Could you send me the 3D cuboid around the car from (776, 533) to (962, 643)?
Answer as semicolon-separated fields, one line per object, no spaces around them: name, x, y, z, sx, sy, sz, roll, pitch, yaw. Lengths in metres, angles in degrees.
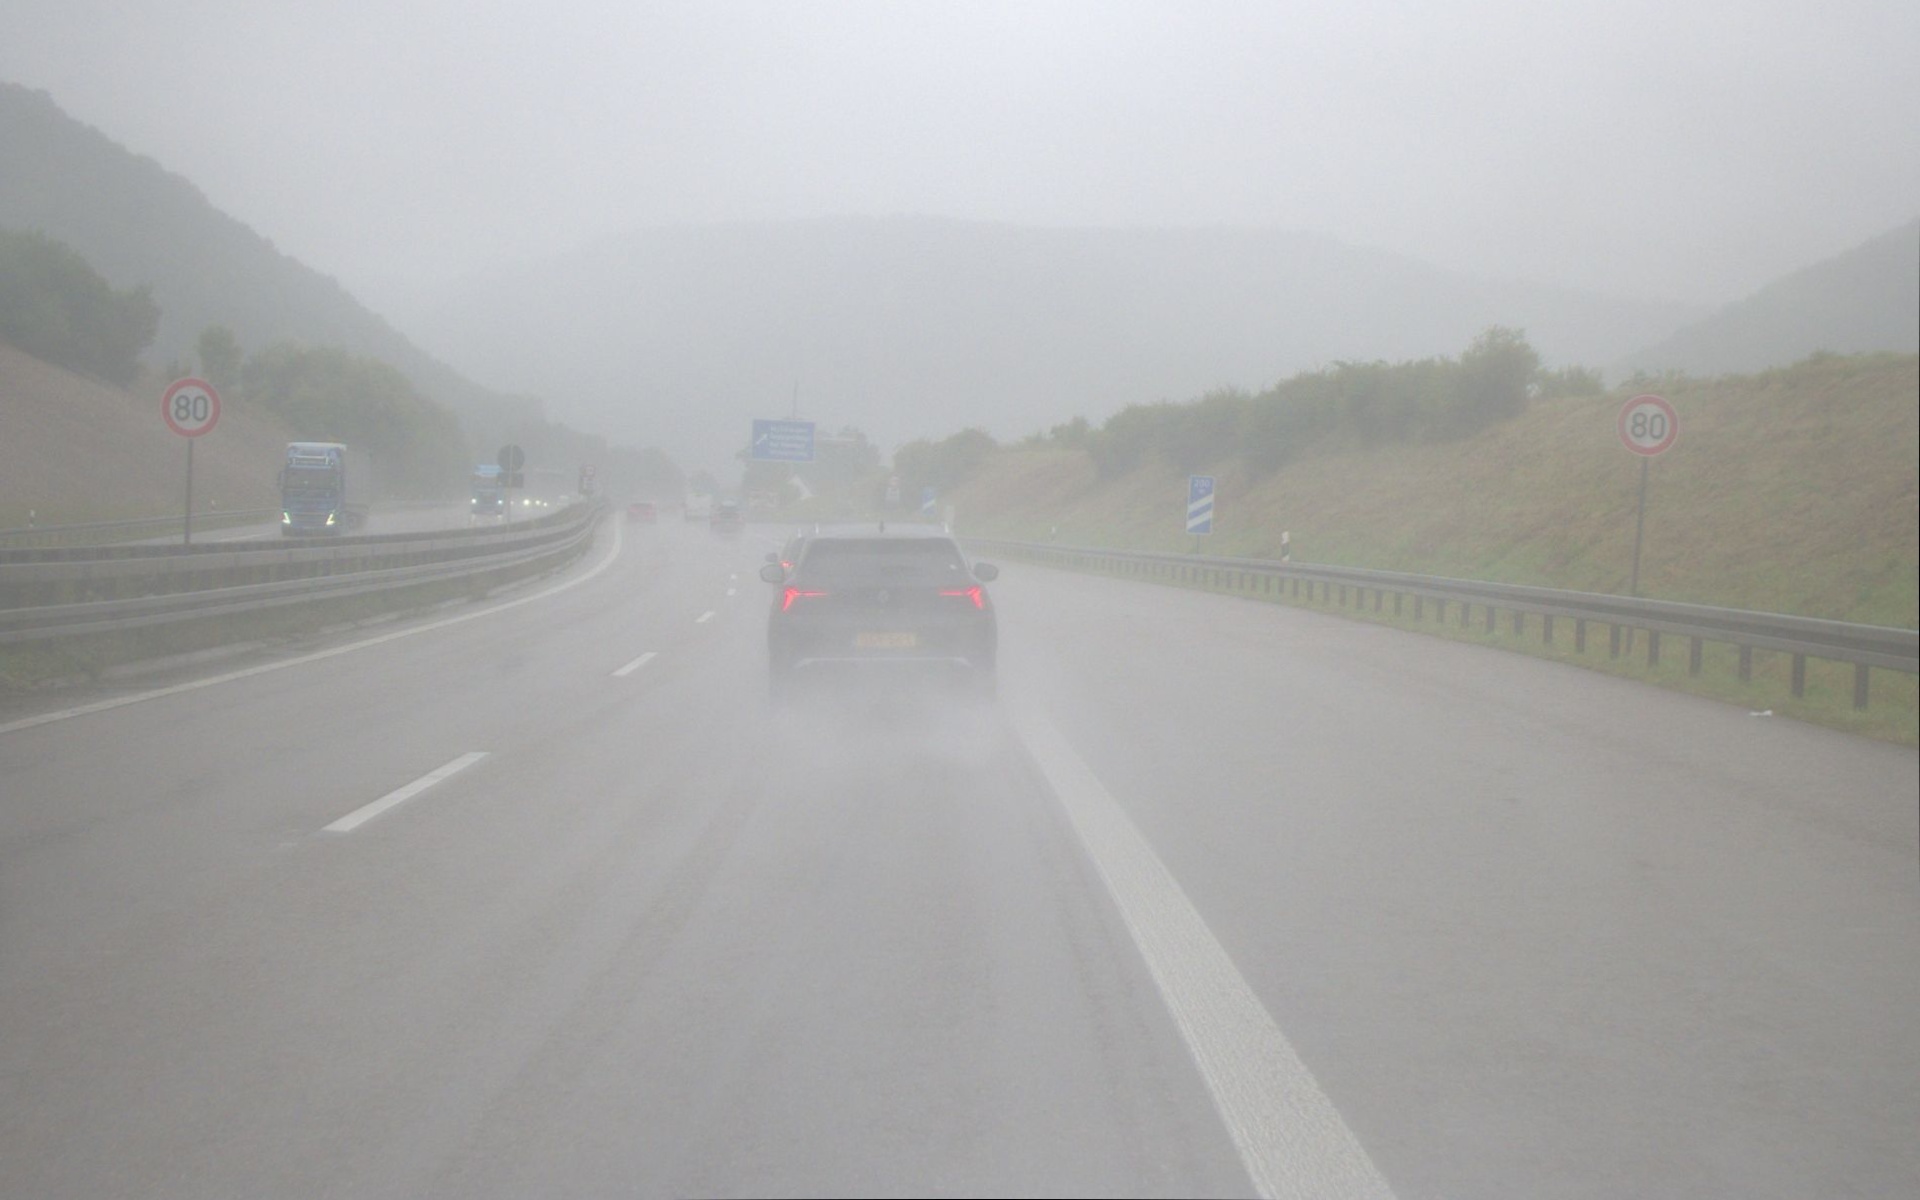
car;-1.463;-0.191;52.958;2.666;1.510;5.718;2;0;-3

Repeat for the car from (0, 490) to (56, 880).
car;-5.105;0.435;13.387;1.993;1.677;4.910;-1;2;-2

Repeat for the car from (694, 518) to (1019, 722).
car;-0.769;0.144;29.203;2.406;1.510;4.783;2;0;2
